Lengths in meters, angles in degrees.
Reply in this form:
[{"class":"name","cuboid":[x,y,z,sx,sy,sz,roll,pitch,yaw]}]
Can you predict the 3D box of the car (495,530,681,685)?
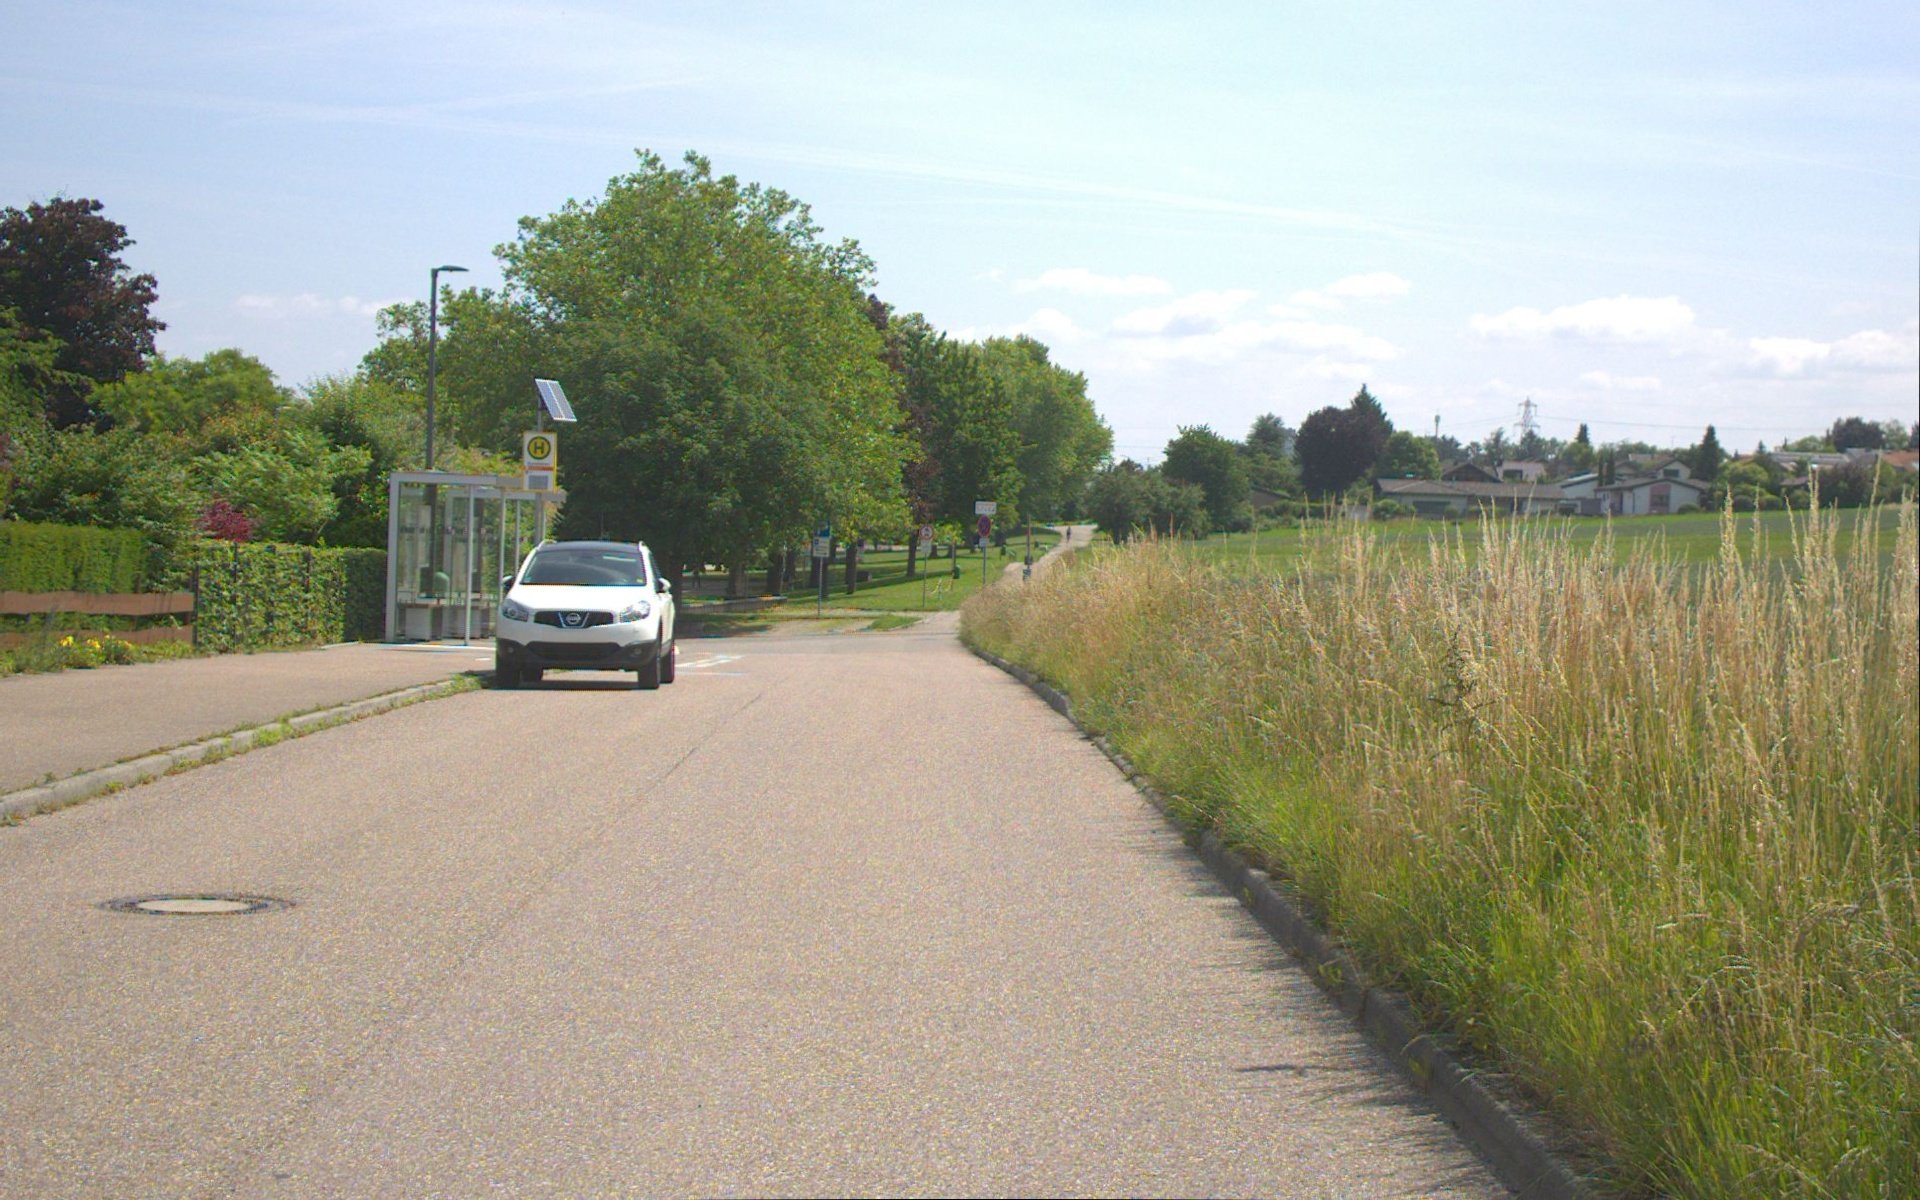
[{"class":"car","cuboid":[-4.146,0.070,38.884,1.734,1.628,4.353,1,0,-2]}]
